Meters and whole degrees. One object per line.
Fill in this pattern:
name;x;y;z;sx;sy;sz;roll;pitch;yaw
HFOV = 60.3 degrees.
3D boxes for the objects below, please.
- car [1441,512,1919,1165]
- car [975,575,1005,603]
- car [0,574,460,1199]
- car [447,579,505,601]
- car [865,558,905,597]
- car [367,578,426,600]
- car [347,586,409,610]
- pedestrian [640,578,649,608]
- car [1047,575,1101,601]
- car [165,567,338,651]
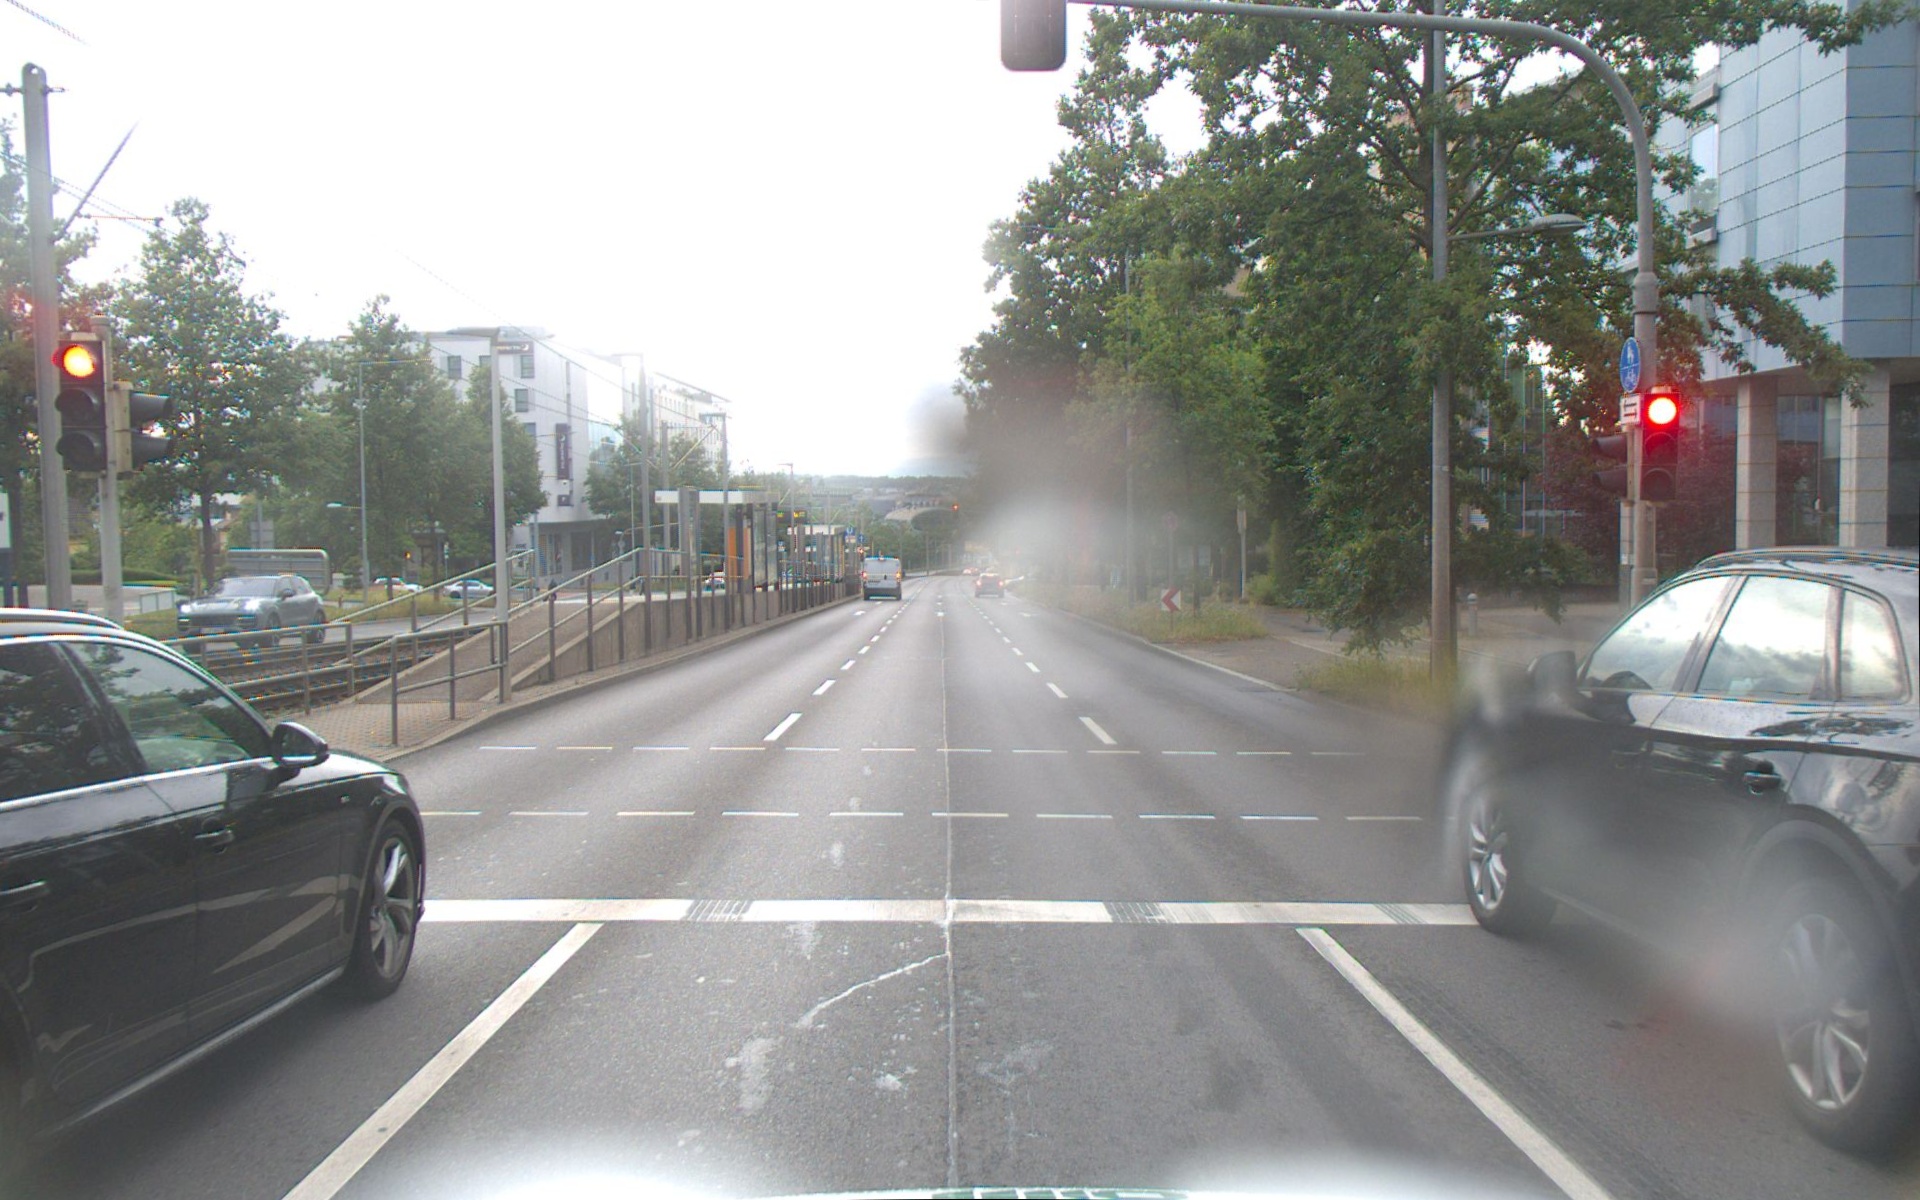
car;3.278;0.579;5.862;1.781;1.641;4.470;0;1;-1
car;1.833;-0.681;102.194;1.738;1.720;3.845;0;1;-1
car;-2.850;0.678;4.381;1.744;1.492;4.513;0;1;-1
car;-35.614;-0.754;121.835;3.792;1.461;1.654;-2;1;-6
car;-4.108;-1.244;91.017;2.050;2.089;4.606;0;1;-1
car;-42.276;-0.852;124.188;4.022;1.461;1.649;-3;1;-16
car;-35.046;-0.151;99.677;3.297;1.411;1.434;0;1;16
pedestrian;-20.584;-0.450;107.899;0.465;1.954;0.490;0;1;-1
car;8.924;-0.965;129.629;3.913;2.049;1.756;0;0;-9
car;-16.344;0.160;38.457;1.953;1.749;4.840;-2;1;-1
